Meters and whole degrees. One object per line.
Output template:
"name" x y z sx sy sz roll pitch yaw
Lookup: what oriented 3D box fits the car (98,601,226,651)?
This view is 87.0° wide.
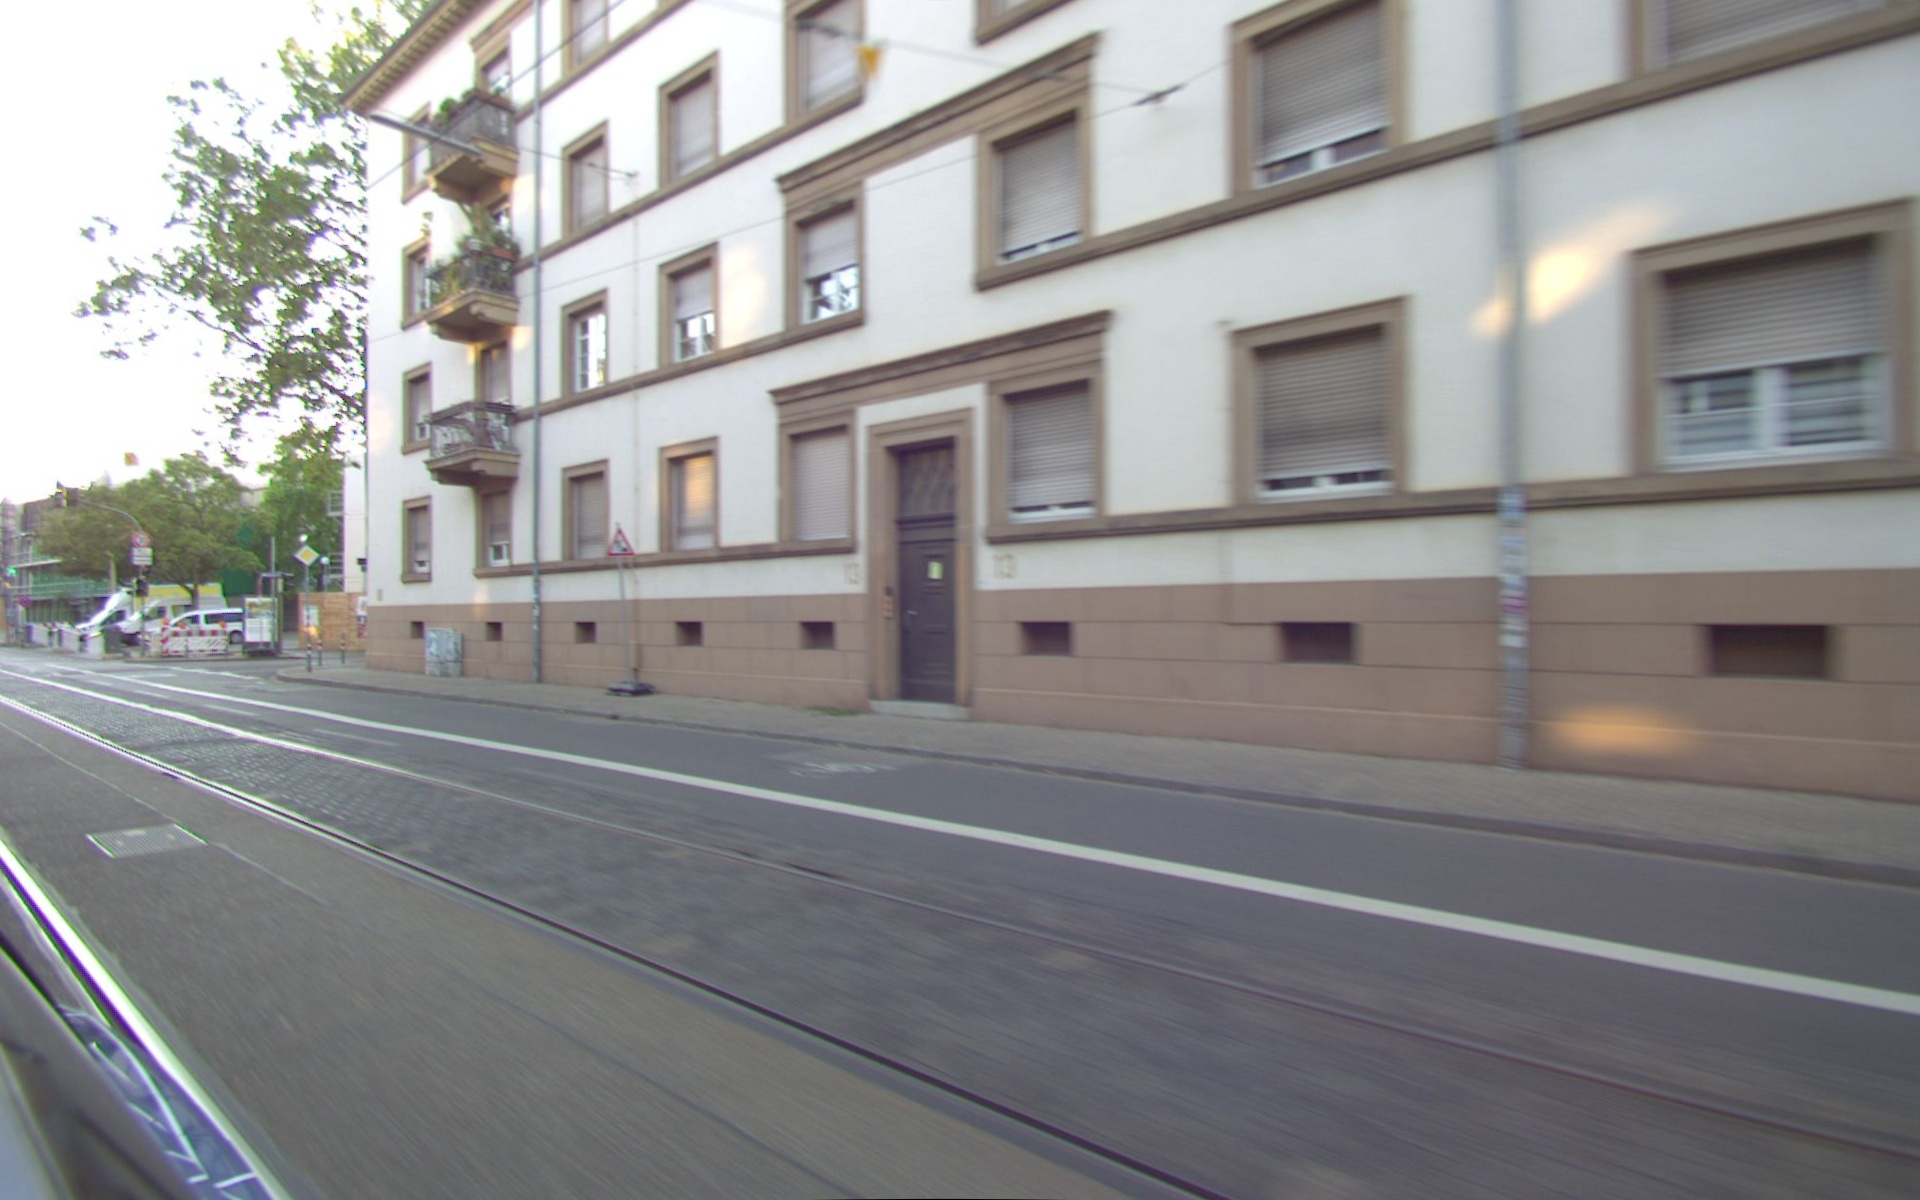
"car" -44.009 1.381 55.929 2.226 2.617 5.170 -2 -1 37

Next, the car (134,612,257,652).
"car" -39.455 1.630 52.308 2.015 1.888 4.781 -2 -1 42

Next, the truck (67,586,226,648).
"truck" -48.263 0.990 60.211 2.562 3.454 6.991 -2 -1 38
